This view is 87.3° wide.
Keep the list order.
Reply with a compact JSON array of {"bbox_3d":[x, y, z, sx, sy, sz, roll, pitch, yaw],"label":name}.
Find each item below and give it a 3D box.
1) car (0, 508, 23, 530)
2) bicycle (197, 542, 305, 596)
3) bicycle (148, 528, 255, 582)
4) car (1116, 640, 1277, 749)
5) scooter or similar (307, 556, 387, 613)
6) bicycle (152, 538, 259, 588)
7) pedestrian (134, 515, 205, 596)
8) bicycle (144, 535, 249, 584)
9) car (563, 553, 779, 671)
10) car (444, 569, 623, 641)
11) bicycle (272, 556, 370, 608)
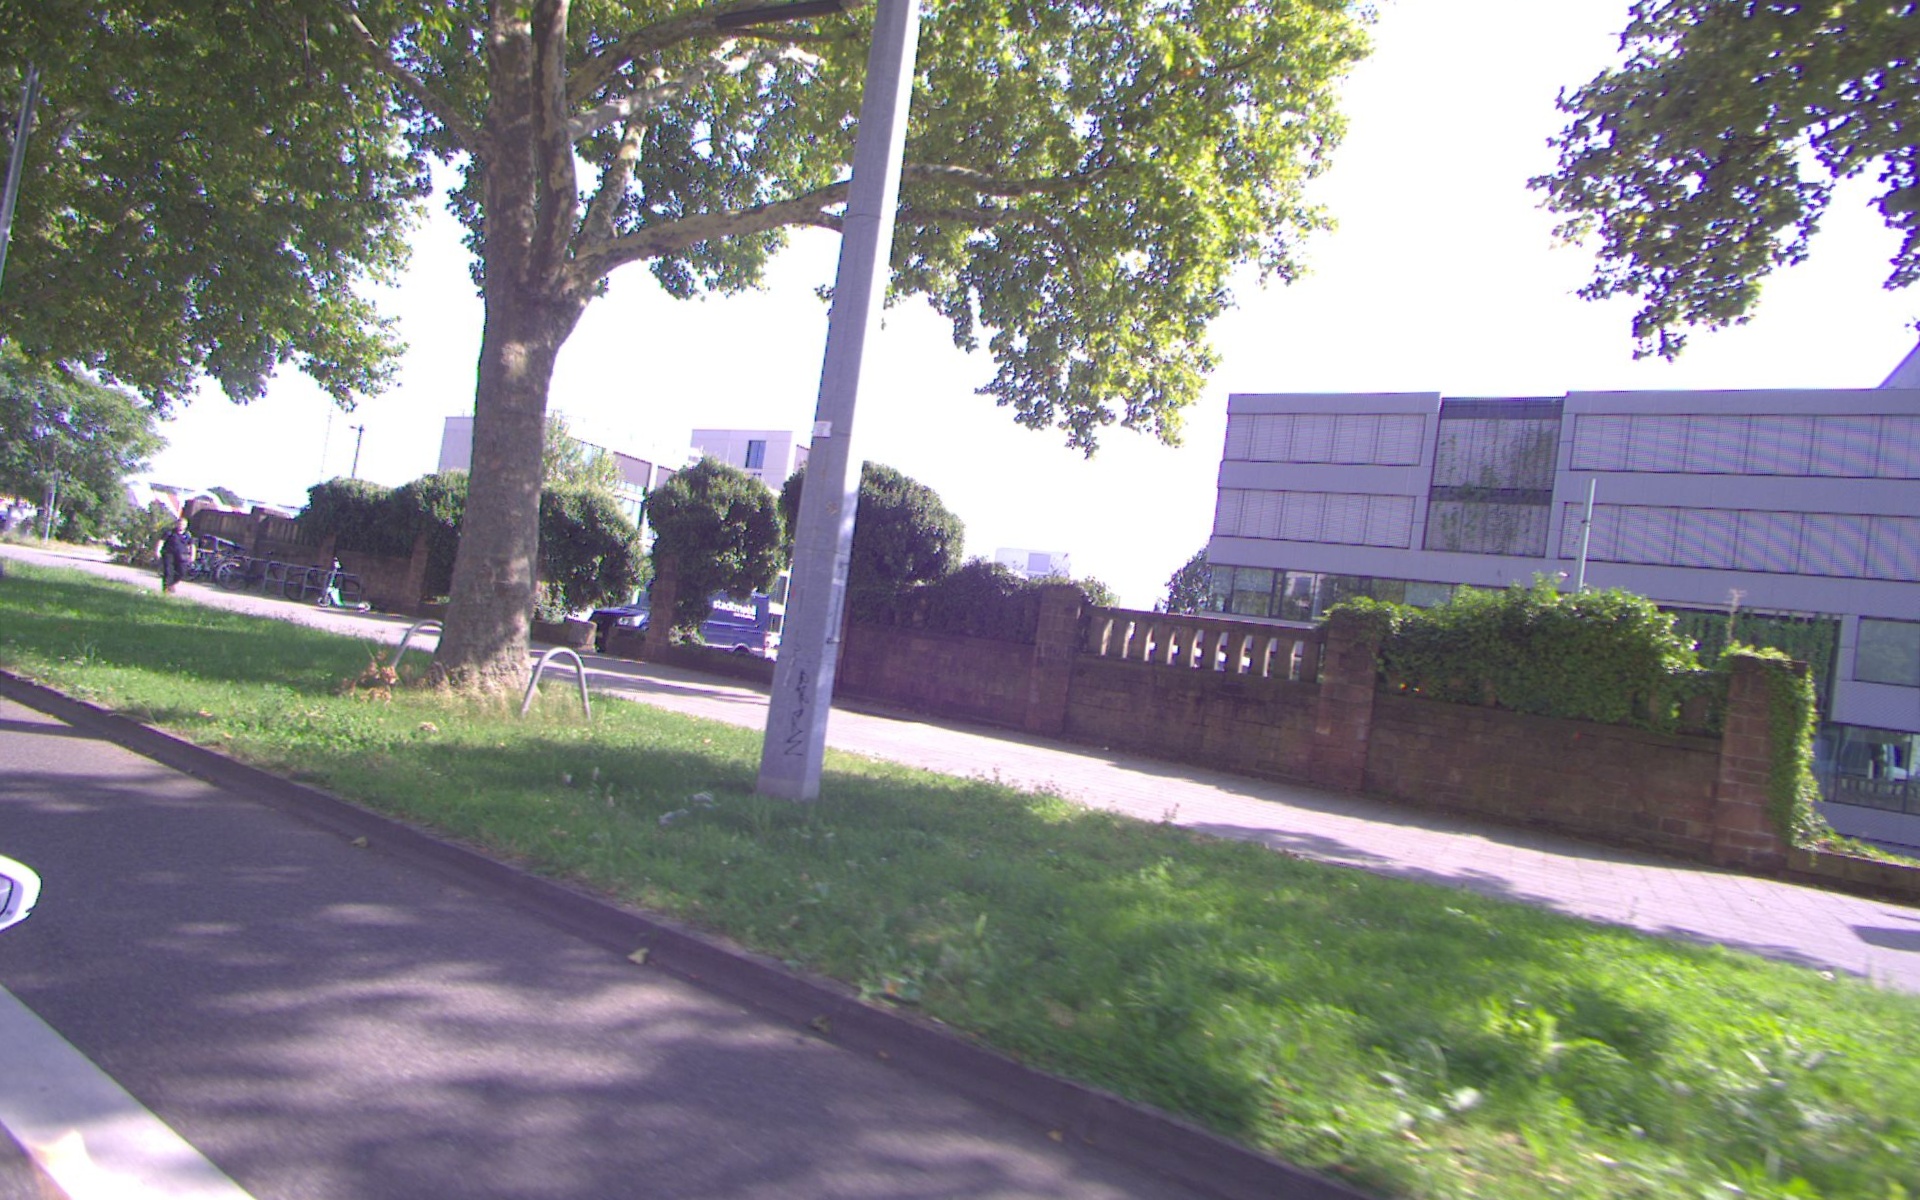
[{"bbox_3d":[-76.514,-6.657,78.587,1.914,1.479,4.359,7,-4,29],"label":"car"},{"bbox_3d":[-18.984,-0.809,26.994,0.730,1.088,2.180,7,-3,29],"label":"bicycle"},{"bbox_3d":[-22.439,-1.317,29.826,0.982,1.292,2.248,6,-2,30],"label":"bicycle"},{"bbox_3d":[4.965,1.960,20.577,1.877,1.753,4.534,7,-3,29],"label":"car"},{"bbox_3d":[-15.237,-0.371,25.050,0.530,1.205,1.507,6,-2,35],"label":"scooter or similar"},{"bbox_3d":[-20.947,-1.001,27.972,0.731,1.089,2.175,7,-1,35],"label":"bicycle"},{"bbox_3d":[-16.643,-0.938,21.177,0.774,1.532,0.785,7,-2,31],"label":"pedestrian"},{"bbox_3d":[-21.567,-1.117,28.467,0.731,1.089,2.175,7,-1,35],"label":"bicycle"},{"bbox_3d":[-7.814,0.427,27.861,2.214,2.461,5.387,7,-3,33],"label":"car"},{"bbox_3d":[-13.056,0.209,31.176,2.147,1.495,4.916,7,-3,22],"label":"car"},{"bbox_3d":[-16.251,-0.442,25.632,0.722,1.017,1.872,7,-3,29],"label":"bicycle"}]
